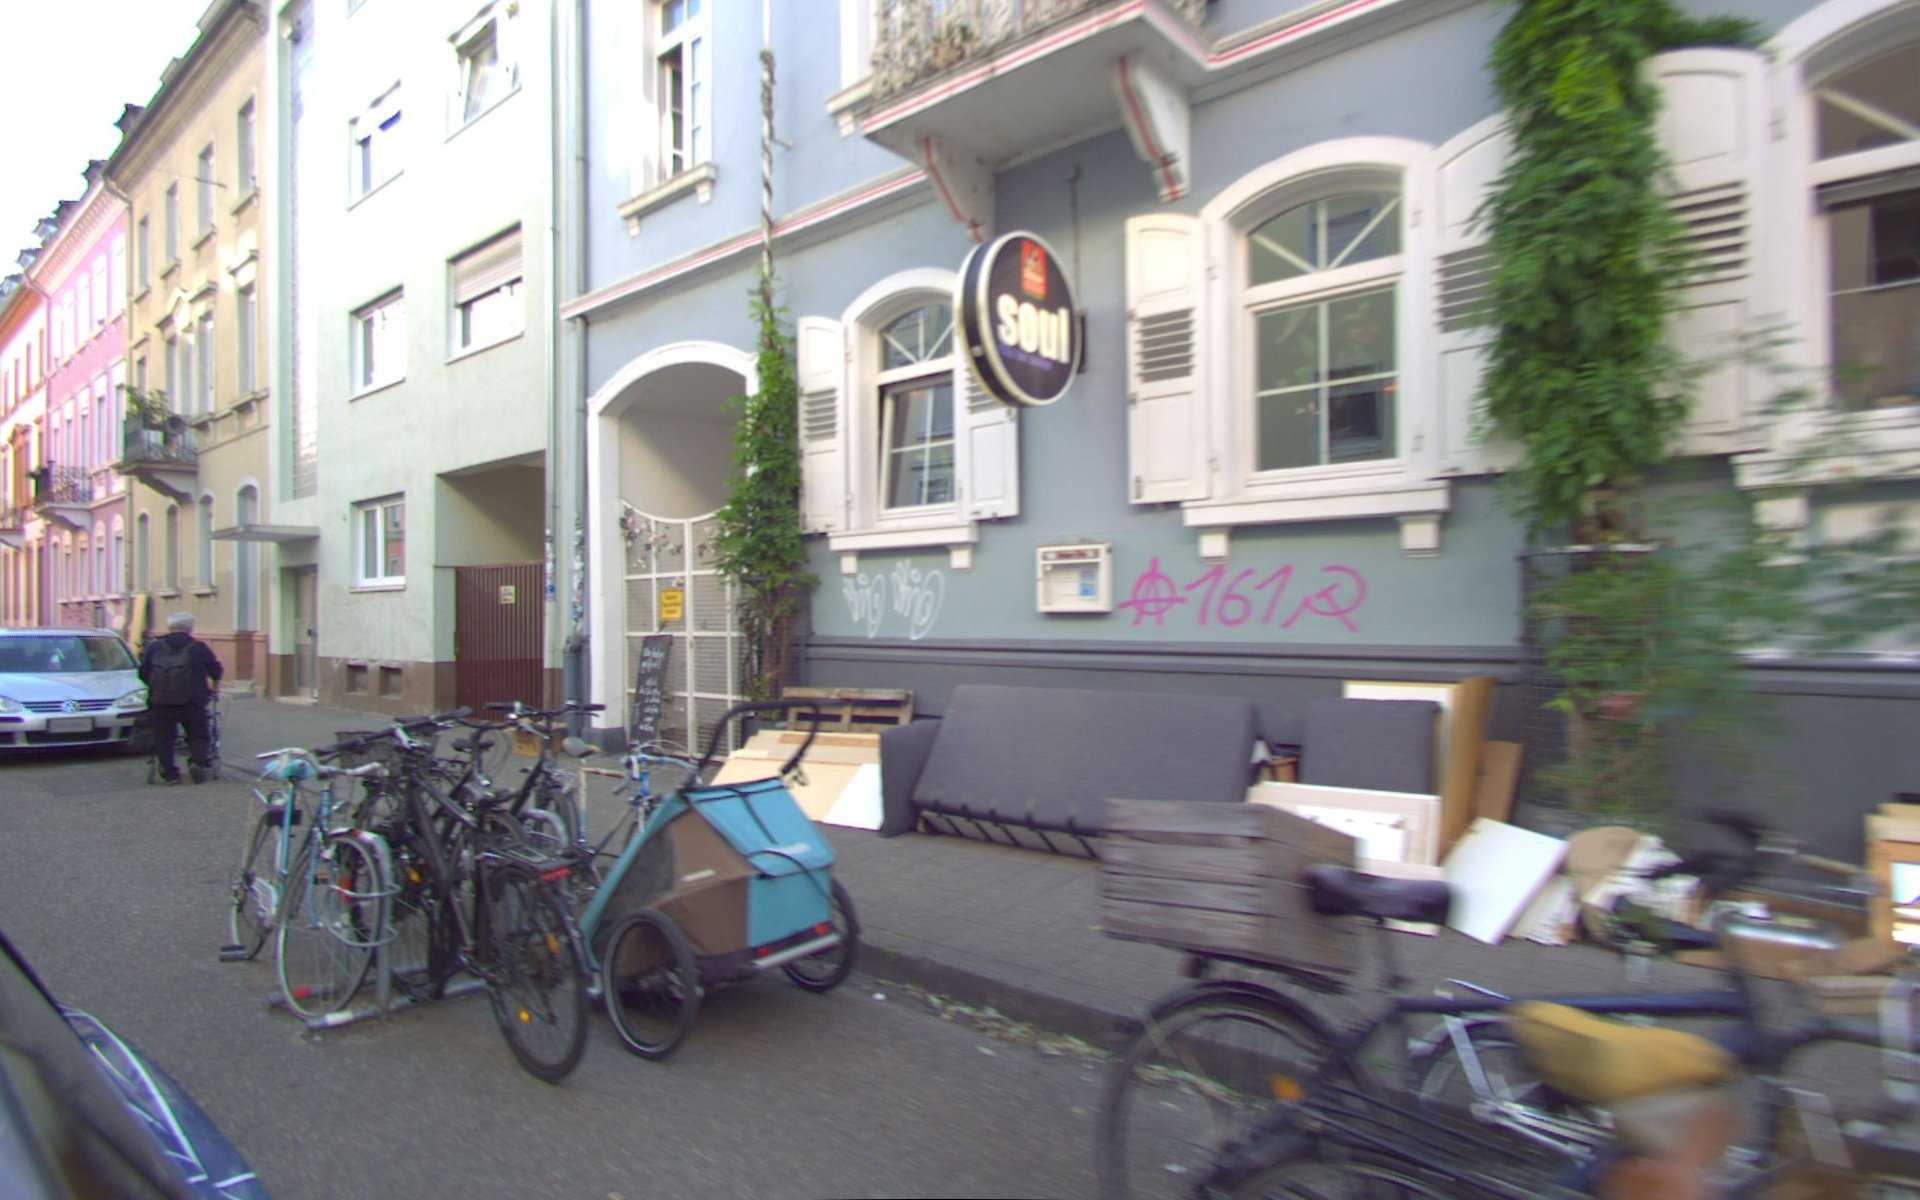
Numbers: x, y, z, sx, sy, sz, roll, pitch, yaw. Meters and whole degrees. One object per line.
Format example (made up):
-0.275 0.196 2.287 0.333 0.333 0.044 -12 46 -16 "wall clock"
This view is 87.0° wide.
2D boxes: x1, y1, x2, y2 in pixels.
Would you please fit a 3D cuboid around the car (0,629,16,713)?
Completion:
-18.843 1.266 18.475 4.195 1.473 1.770 -2 -3 39 "car"

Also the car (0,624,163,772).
-10.736 1.039 11.808 4.034 1.466 1.662 -2 -3 44 "car"

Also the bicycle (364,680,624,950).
-2.478 1.017 5.267 1.872 1.114 0.439 -2 -1 39 "bicycle"

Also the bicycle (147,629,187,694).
-15.863 1.211 20.244 1.493 1.269 0.315 -2 -1 40 "bicycle"

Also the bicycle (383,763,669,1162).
-1.443 1.060 3.270 1.289 0.923 0.318 -2 -2 41 "bicycle"

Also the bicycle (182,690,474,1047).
-2.710 0.988 4.246 1.828 1.114 0.494 -2 -1 40 "bicycle"

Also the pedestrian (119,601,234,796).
-7.303 0.875 9.439 0.671 1.720 0.706 -1 0 39 "pedestrian"

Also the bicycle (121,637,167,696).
-16.062 1.288 19.910 1.493 1.110 0.413 -2 -1 40 "bicycle"

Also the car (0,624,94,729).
-14.837 1.115 15.467 3.996 1.463 1.772 -2 -2 40 "car"

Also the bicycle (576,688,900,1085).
-0.842 0.971 3.854 0.919 1.184 0.805 -2 -1 38 "bicycle"

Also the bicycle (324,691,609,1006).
-2.365 1.032 4.715 1.930 1.114 0.439 -2 -1 40 "bicycle"

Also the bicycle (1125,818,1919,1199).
1.122 1.009 1.830 1.570 0.951 0.548 -2 -2 41 "bicycle"

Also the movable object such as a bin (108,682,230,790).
-7.672 1.295 9.827 0.585 0.904 0.836 -1 0 40 "movable object such as a bin"

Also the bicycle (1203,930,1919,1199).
1.004 1.017 1.140 1.392 0.923 0.386 -2 -2 41 "bicycle"

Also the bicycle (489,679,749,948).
-1.803 1.004 5.210 1.696 1.114 0.439 -2 -1 40 "bicycle"

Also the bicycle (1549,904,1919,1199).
1.834 1.104 1.820 1.299 0.824 0.253 -2 -1 41 "bicycle"
